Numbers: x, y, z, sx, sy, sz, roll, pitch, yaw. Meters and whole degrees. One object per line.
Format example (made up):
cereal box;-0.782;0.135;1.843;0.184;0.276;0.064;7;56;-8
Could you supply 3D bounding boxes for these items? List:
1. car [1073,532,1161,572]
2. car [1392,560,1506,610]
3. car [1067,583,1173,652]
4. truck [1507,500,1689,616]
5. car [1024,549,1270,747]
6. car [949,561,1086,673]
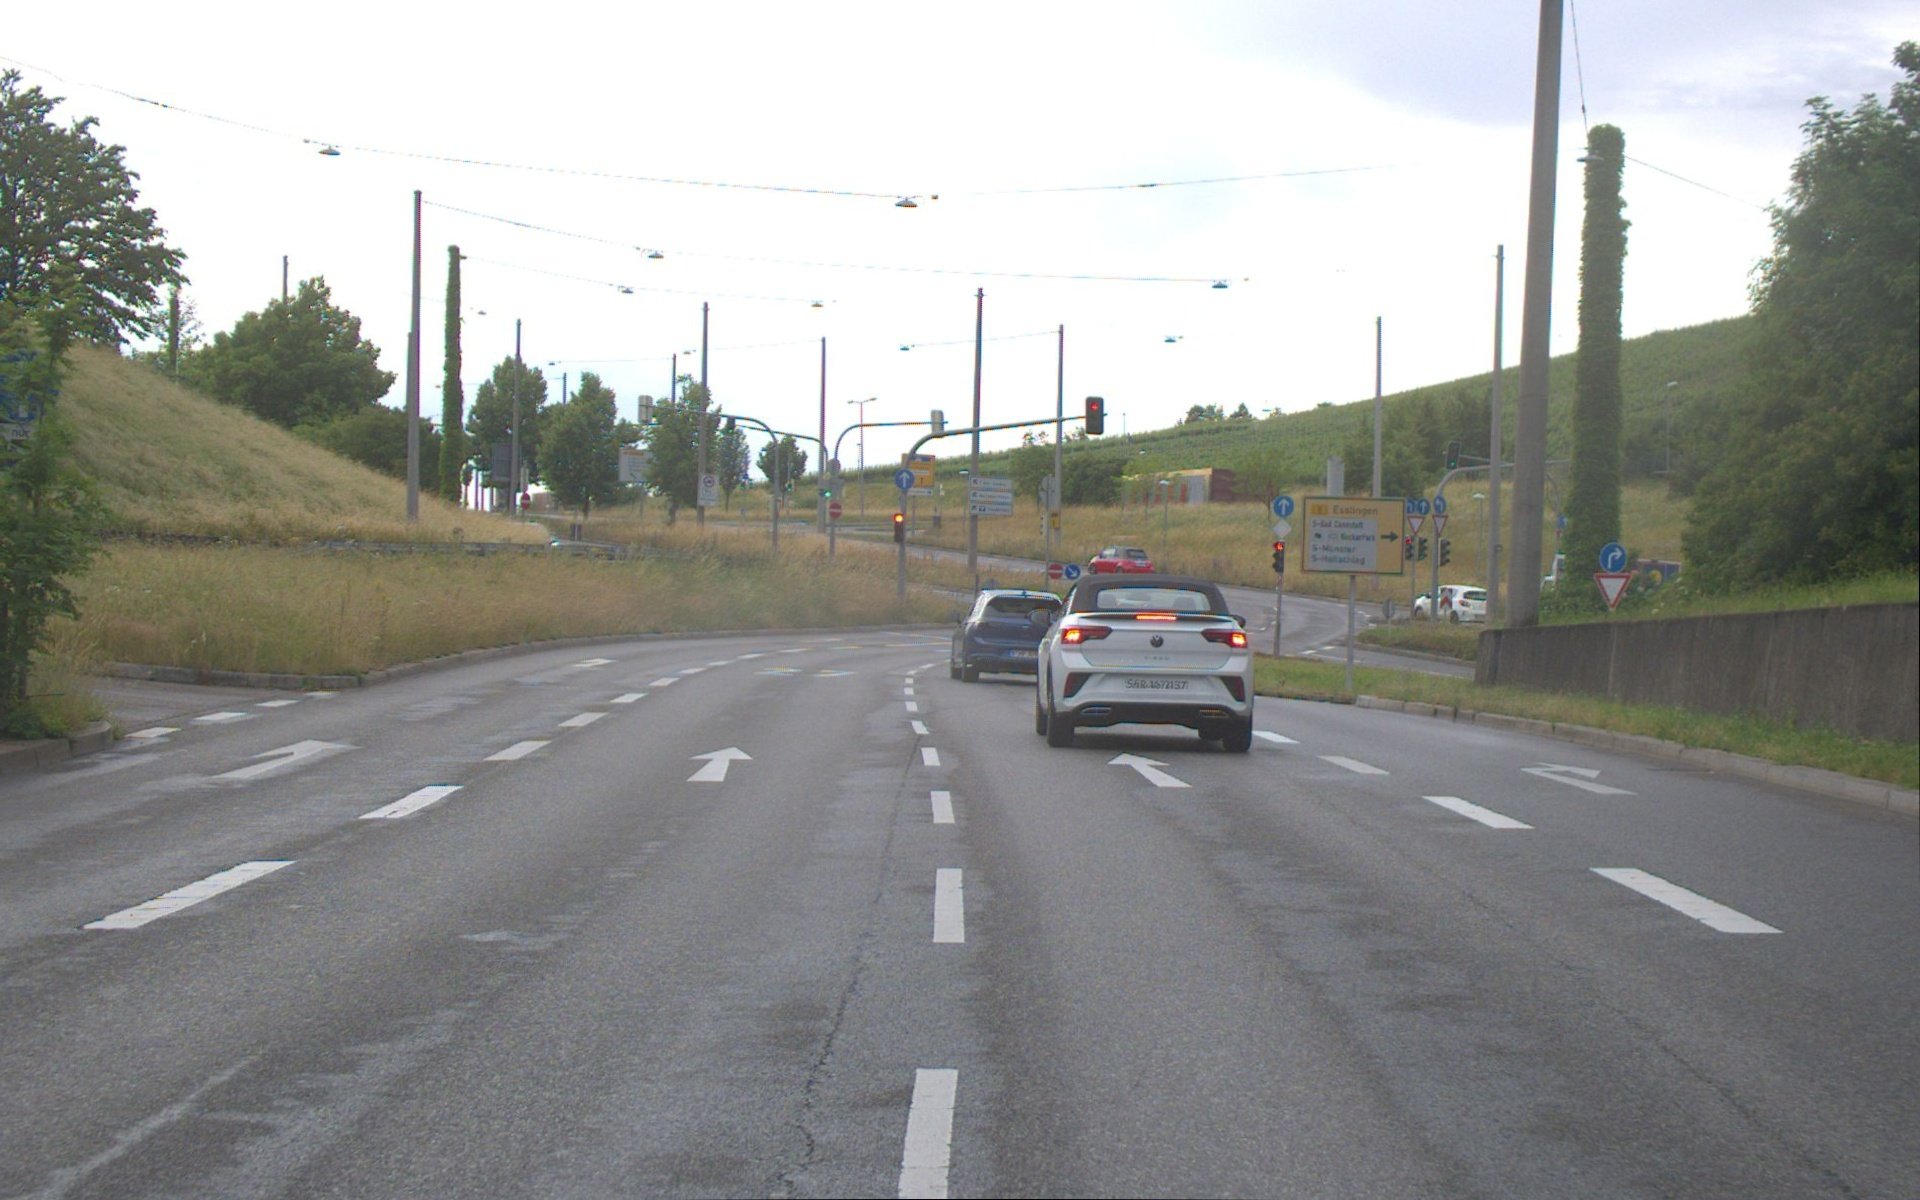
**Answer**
car;6.967;-2.140;153.356;1.993;1.706;4.564;0;1;-25
car;17.709;-0.557;124.731;1.993;1.495;4.565;1;4;-22
car;3.945;0.432;84.267;1.776;1.514;3.722;4;1;14
truck;21.365;-1.449;115.429;2.847;3.514;6.237;0;4;-24
car;1.618;0.409;31.094;1.996;1.573;4.125;3;0;1
car;0.930;0.275;53.397;1.926;1.594;4.061;2;-1;3
